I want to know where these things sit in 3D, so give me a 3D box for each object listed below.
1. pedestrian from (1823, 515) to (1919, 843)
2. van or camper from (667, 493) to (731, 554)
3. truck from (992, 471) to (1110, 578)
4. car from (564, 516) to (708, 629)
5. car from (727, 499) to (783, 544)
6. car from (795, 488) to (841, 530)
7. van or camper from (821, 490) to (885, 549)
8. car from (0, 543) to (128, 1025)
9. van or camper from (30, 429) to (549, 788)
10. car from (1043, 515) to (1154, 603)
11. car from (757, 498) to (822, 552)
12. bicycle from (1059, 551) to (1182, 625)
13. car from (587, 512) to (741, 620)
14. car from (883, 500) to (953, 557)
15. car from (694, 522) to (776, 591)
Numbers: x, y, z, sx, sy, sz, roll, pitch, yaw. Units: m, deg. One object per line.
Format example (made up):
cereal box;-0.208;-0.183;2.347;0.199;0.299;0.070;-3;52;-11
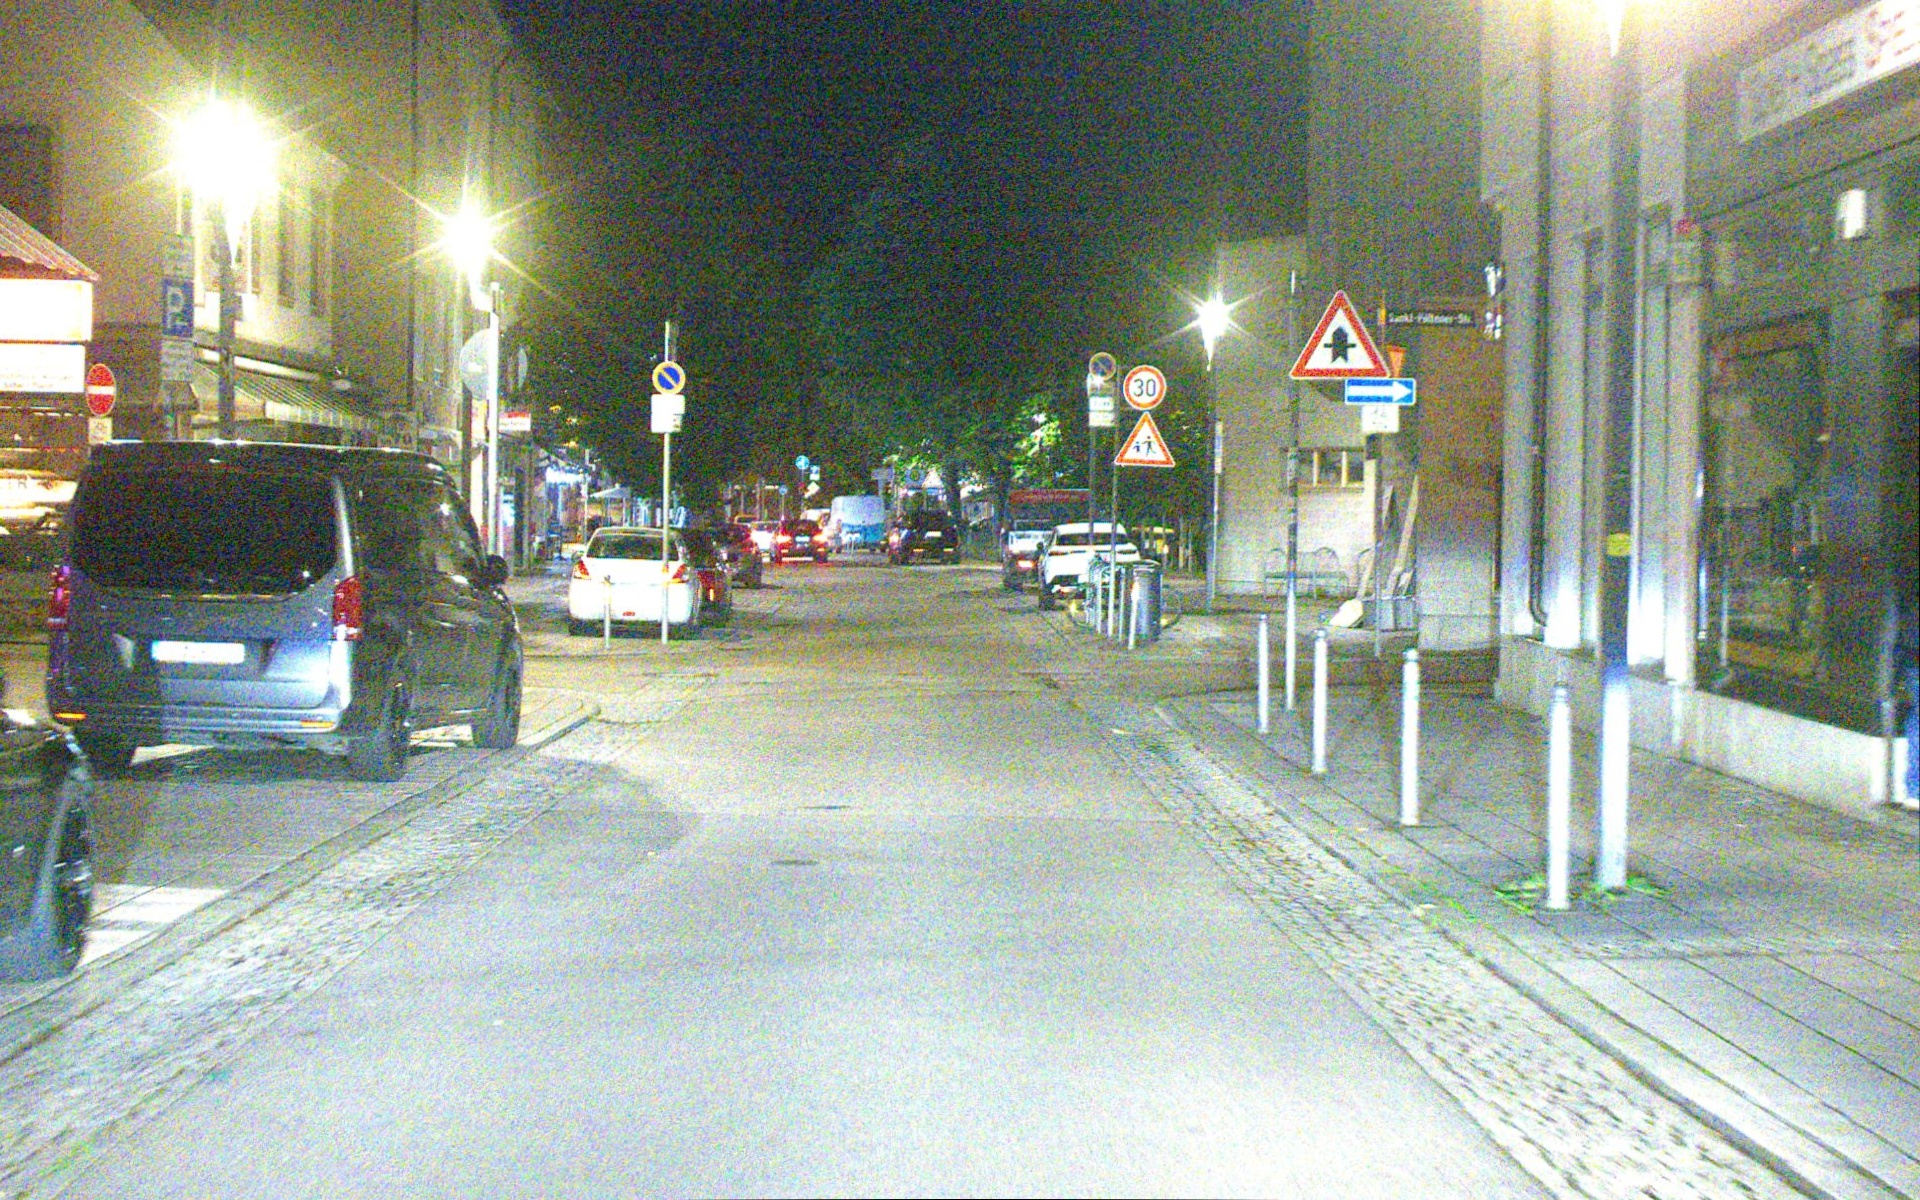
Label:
pedestrian;4.467;0.374;16.532;0.501;1.542;0.480;2;1;5
van or camper;-9.049;-2.645;118.998;1.866;2.004;4.263;2;1;-8
truck;1.986;-1.702;76.978;2.336;2.304;5.781;0;1;-2
car;-4.458;-0.412;47.768;1.728;1.471;3.847;2;1;-2
car;-7.999;-3.046;133.865;1.993;1.697;4.001;1;1;-6
car;-6.514;-4.167;157.257;1.839;1.894;3.846;0;1;-6
van or camper;-4.304;-3.252;138.192;2.108;2.309;4.263;-1;2;-8
car;-3.675;0.543;9.399;1.716;1.408;4.386;2;1;0
van or camper;-4.019;-0.006;21.573;1.846;1.935;5.153;2;1;4
car;2.439;-0.749;61.304;1.789;1.486;4.059;-1;1;0
car;-5.964;-2.620;119.751;1.993;1.817;4.001;1;1;-7
bicycle;2.338;-0.175;50.038;1.754;1.058;0.346;0;1;-3
car;-4.530;-0.565;53.323;2.019;1.483;5.008;3;1;-2
car;-1.403;-2.351;112.078;1.814;1.822;4.348;0;1;-7
car;-5.329;-1.057;81.183;1.673;1.538;4.231;1;1;-7
